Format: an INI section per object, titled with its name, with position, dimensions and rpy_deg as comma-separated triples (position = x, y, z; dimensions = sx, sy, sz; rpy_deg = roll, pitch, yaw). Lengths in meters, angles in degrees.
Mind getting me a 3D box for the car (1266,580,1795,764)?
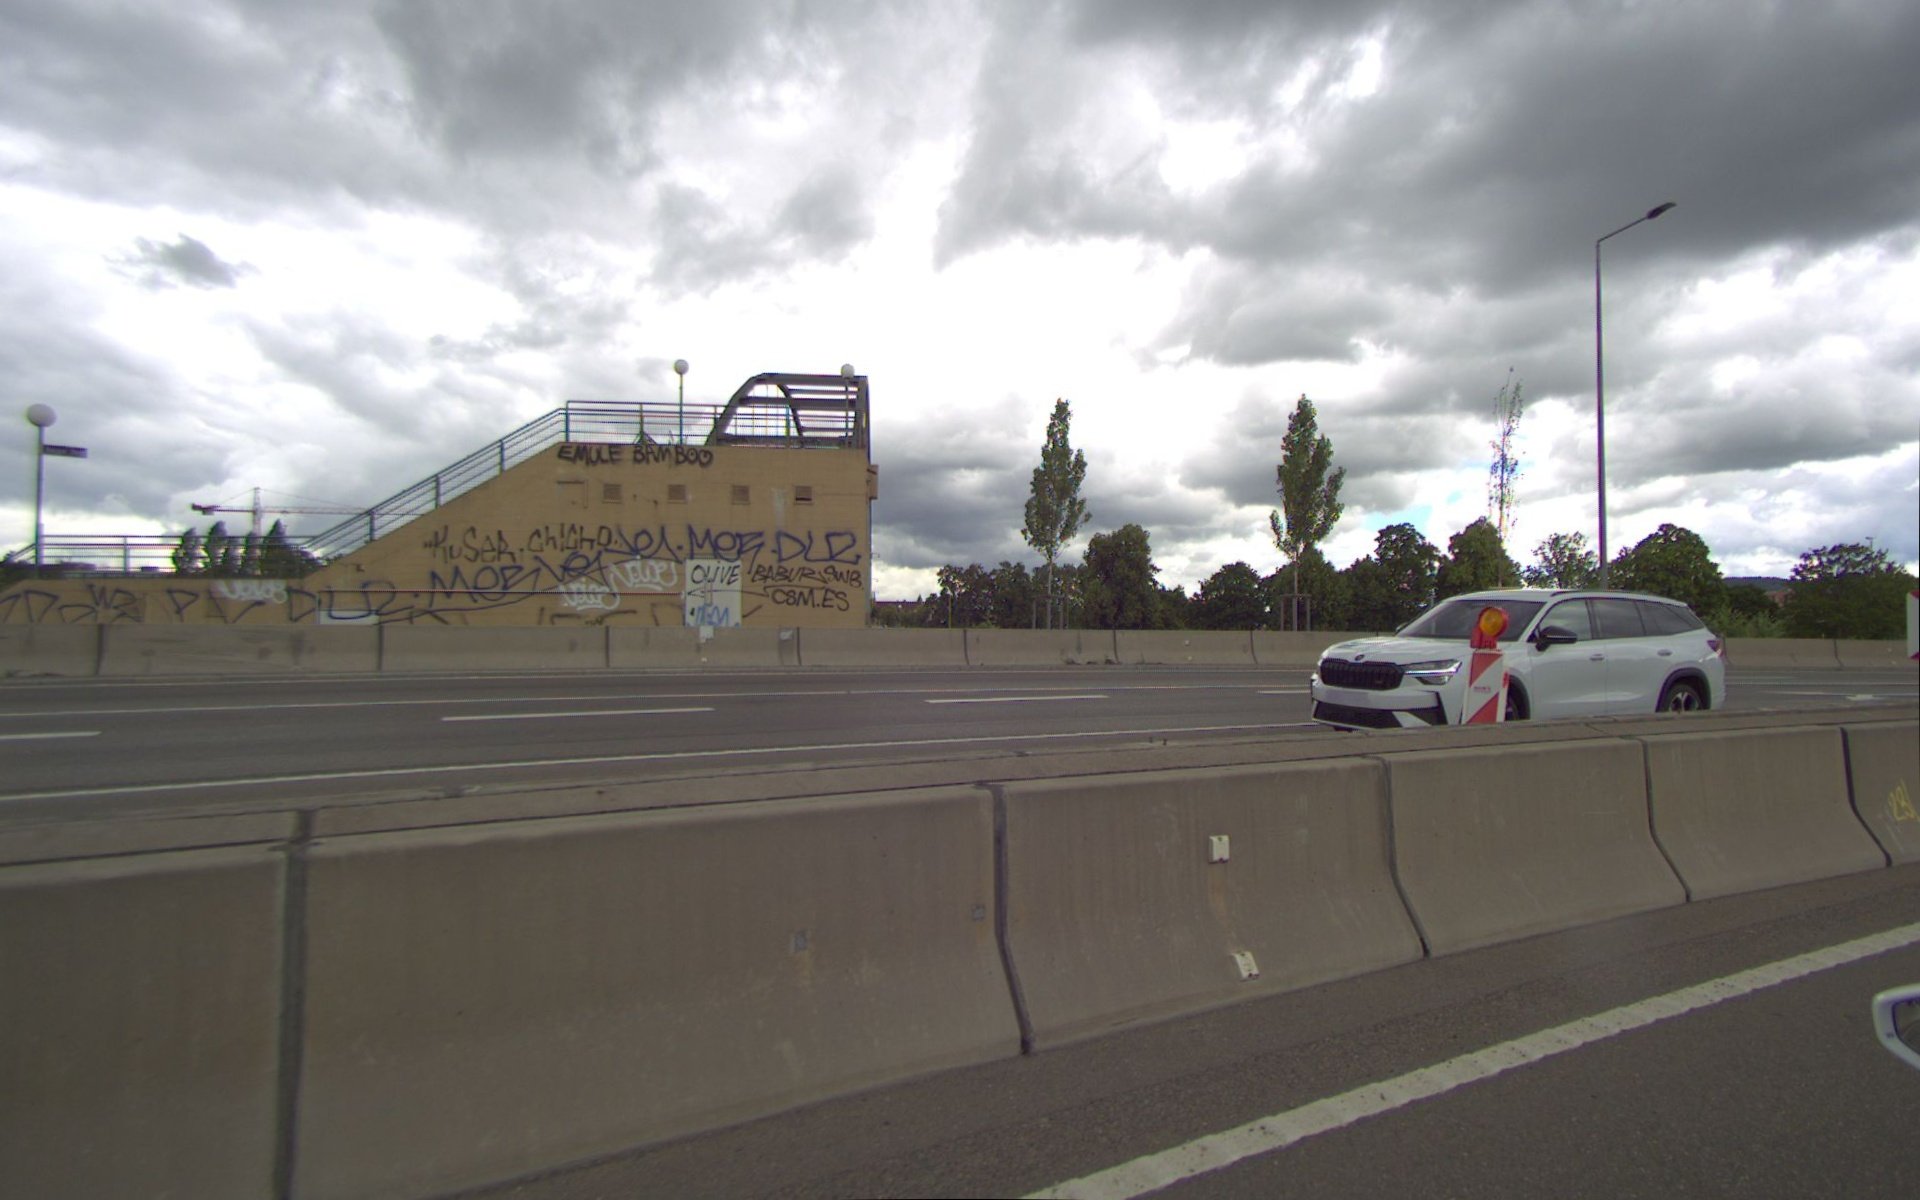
[car]
position = 5.941, 0.637, 10.479
dimensions = 5.066, 1.573, 2.094
rpy_deg = 1, 0, -22
